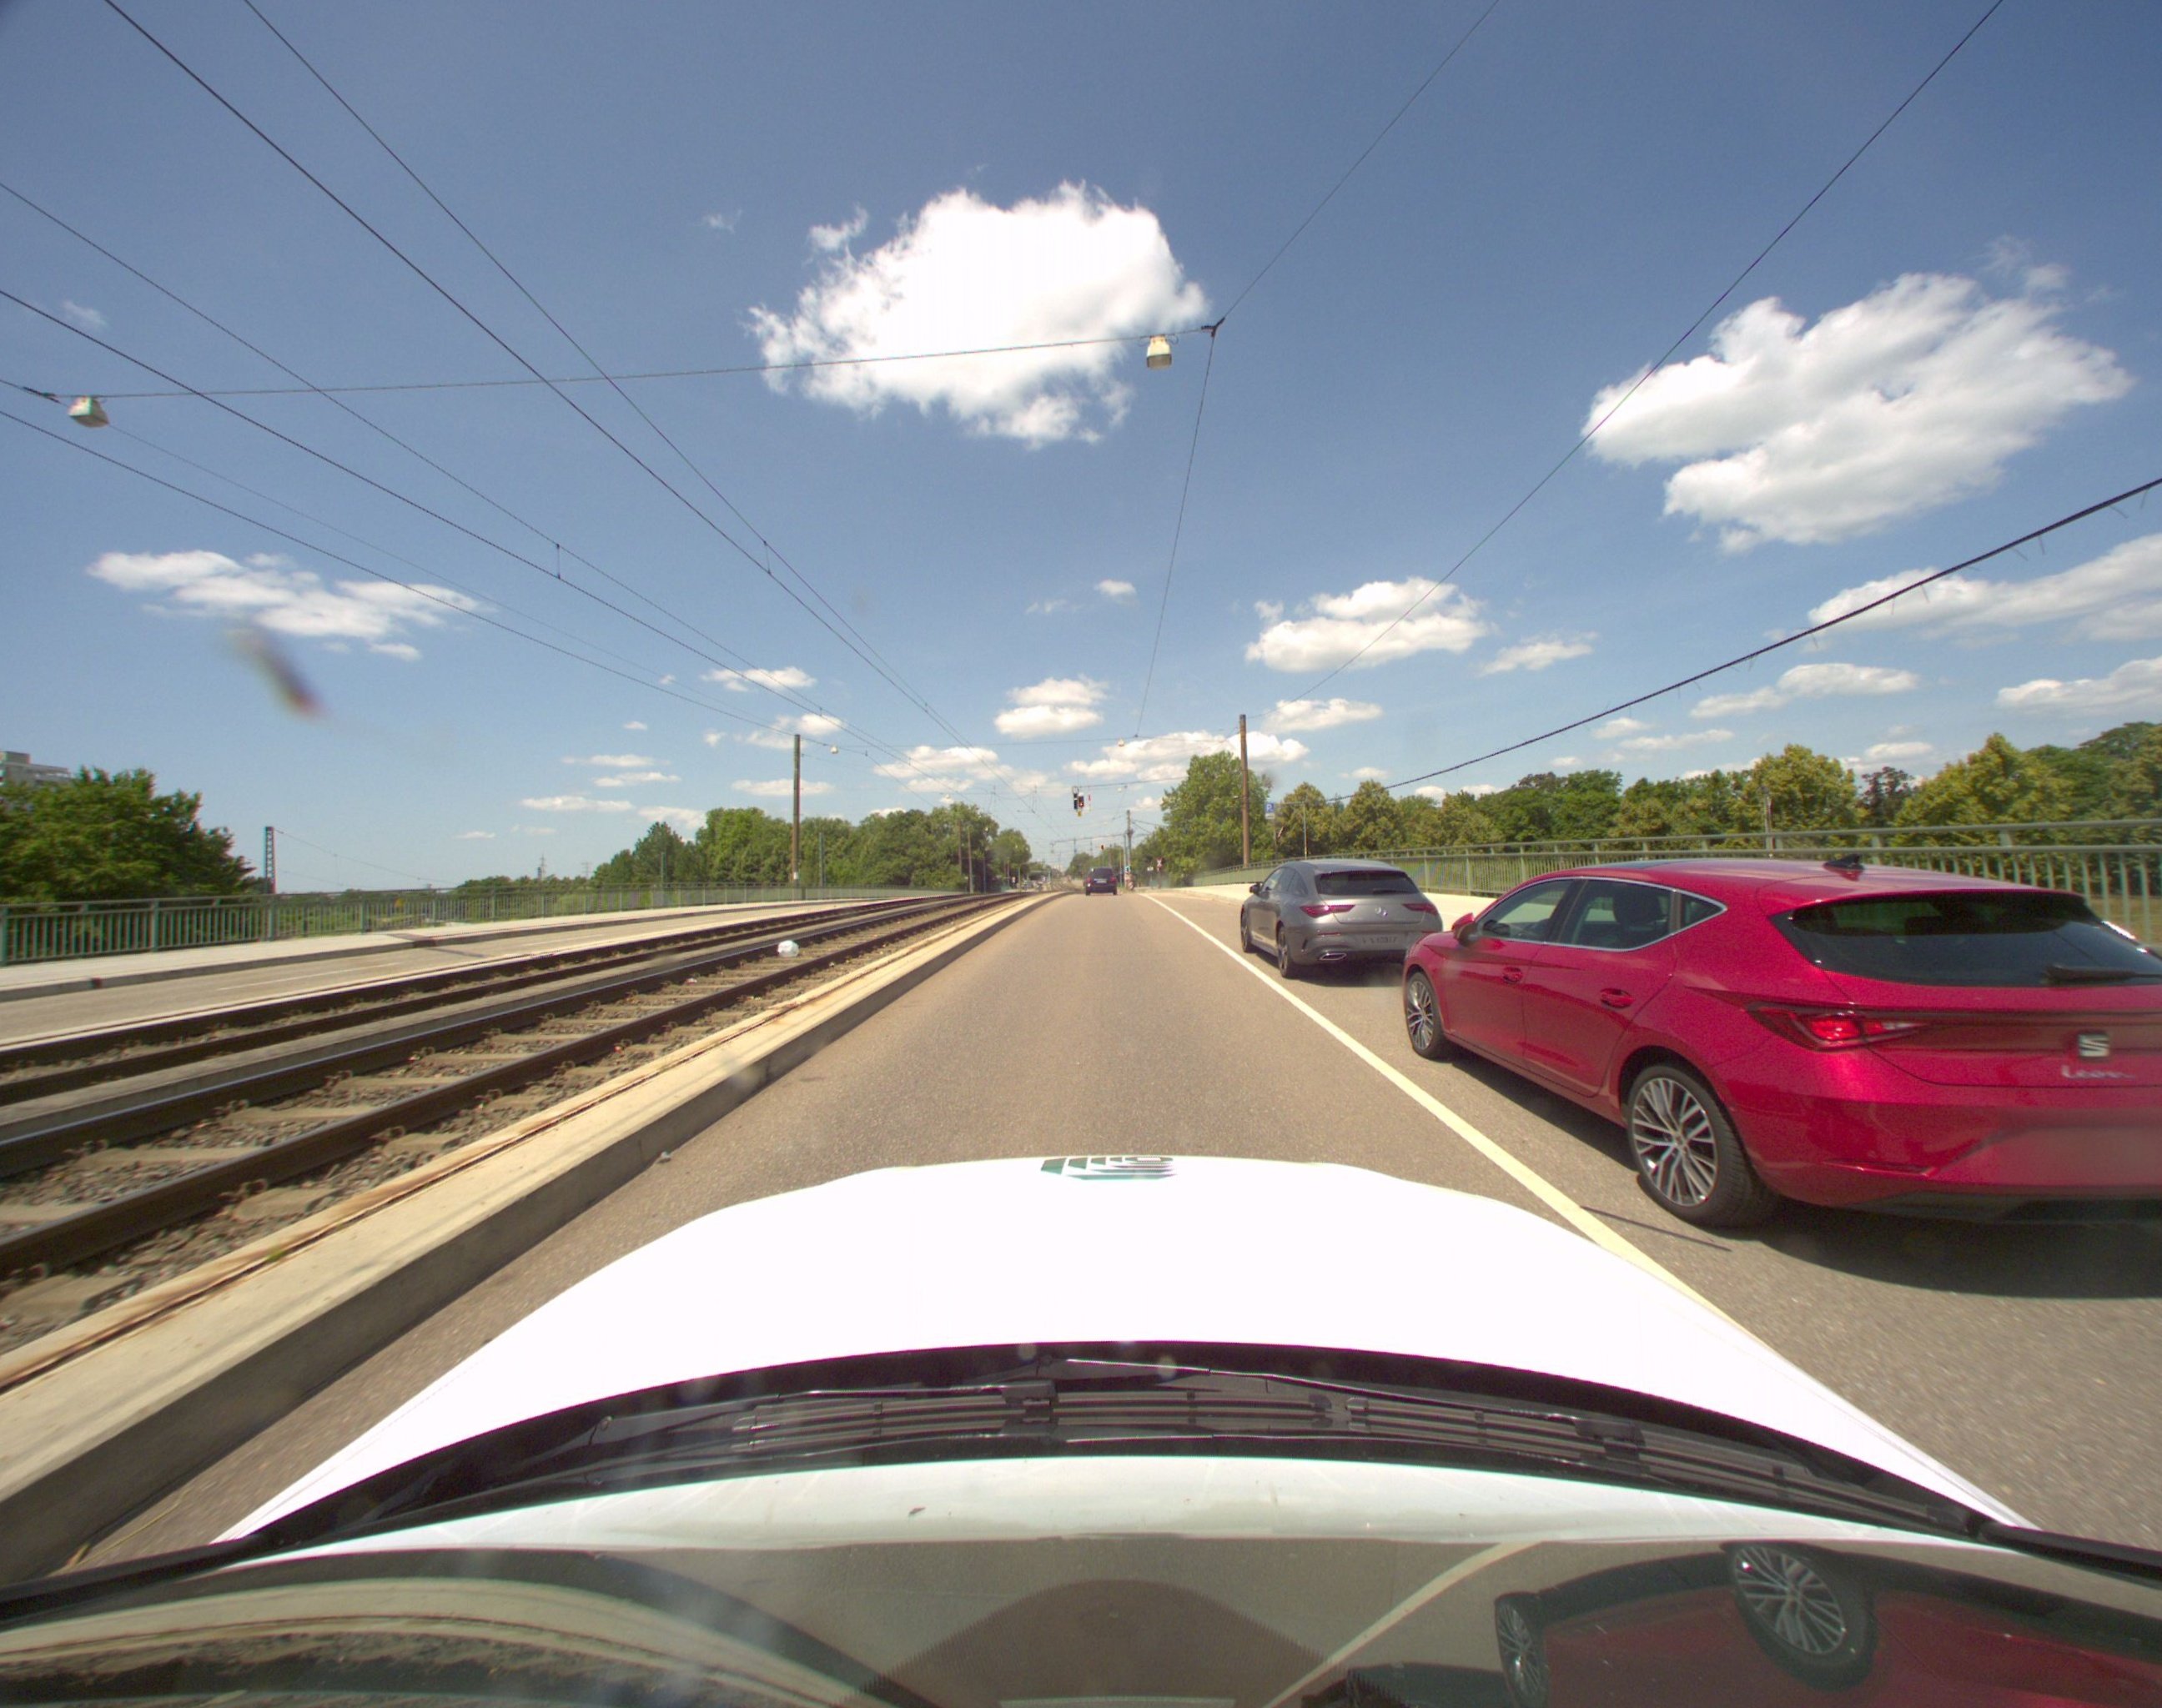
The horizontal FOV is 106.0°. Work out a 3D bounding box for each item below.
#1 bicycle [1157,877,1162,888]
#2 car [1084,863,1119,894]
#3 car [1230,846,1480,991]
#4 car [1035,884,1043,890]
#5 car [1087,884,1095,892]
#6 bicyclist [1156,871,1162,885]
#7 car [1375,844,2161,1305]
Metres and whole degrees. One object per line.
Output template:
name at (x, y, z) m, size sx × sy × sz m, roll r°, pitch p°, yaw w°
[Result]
bicycle at (8.756, 3.218, 91.120) m, size 0.430 × 1.152 × 1.856 m, roll -1°, pitch -1°, yaw 3°
car at (1.177, 1.358, 46.175) m, size 1.846 × 1.570 × 4.389 m, roll -1°, pitch 0°, yaw 2°
car at (3.410, 0.694, 11.215) m, size 1.986 × 1.552 × 4.723 m, roll -1°, pitch 0°, yaw 2°
car at (-10.772, 8.546, 210.470) m, size 1.698 × 1.510 × 3.734 m, roll -2°, pitch -3°, yaw 2°
car at (2.411, 8.115, 195.425) m, size 1.877 × 1.640 × 4.002 m, roll 2°, pitch -1°, yaw 2°
bicyclist at (8.756, 2.712, 91.189) m, size 0.583 × 1.495 × 0.558 m, roll -1°, pitch -1°, yaw 3°
car at (3.260, 0.704, 4.749) m, size 1.641 × 1.460 × 4.287 m, roll -1°, pitch 0°, yaw 2°
